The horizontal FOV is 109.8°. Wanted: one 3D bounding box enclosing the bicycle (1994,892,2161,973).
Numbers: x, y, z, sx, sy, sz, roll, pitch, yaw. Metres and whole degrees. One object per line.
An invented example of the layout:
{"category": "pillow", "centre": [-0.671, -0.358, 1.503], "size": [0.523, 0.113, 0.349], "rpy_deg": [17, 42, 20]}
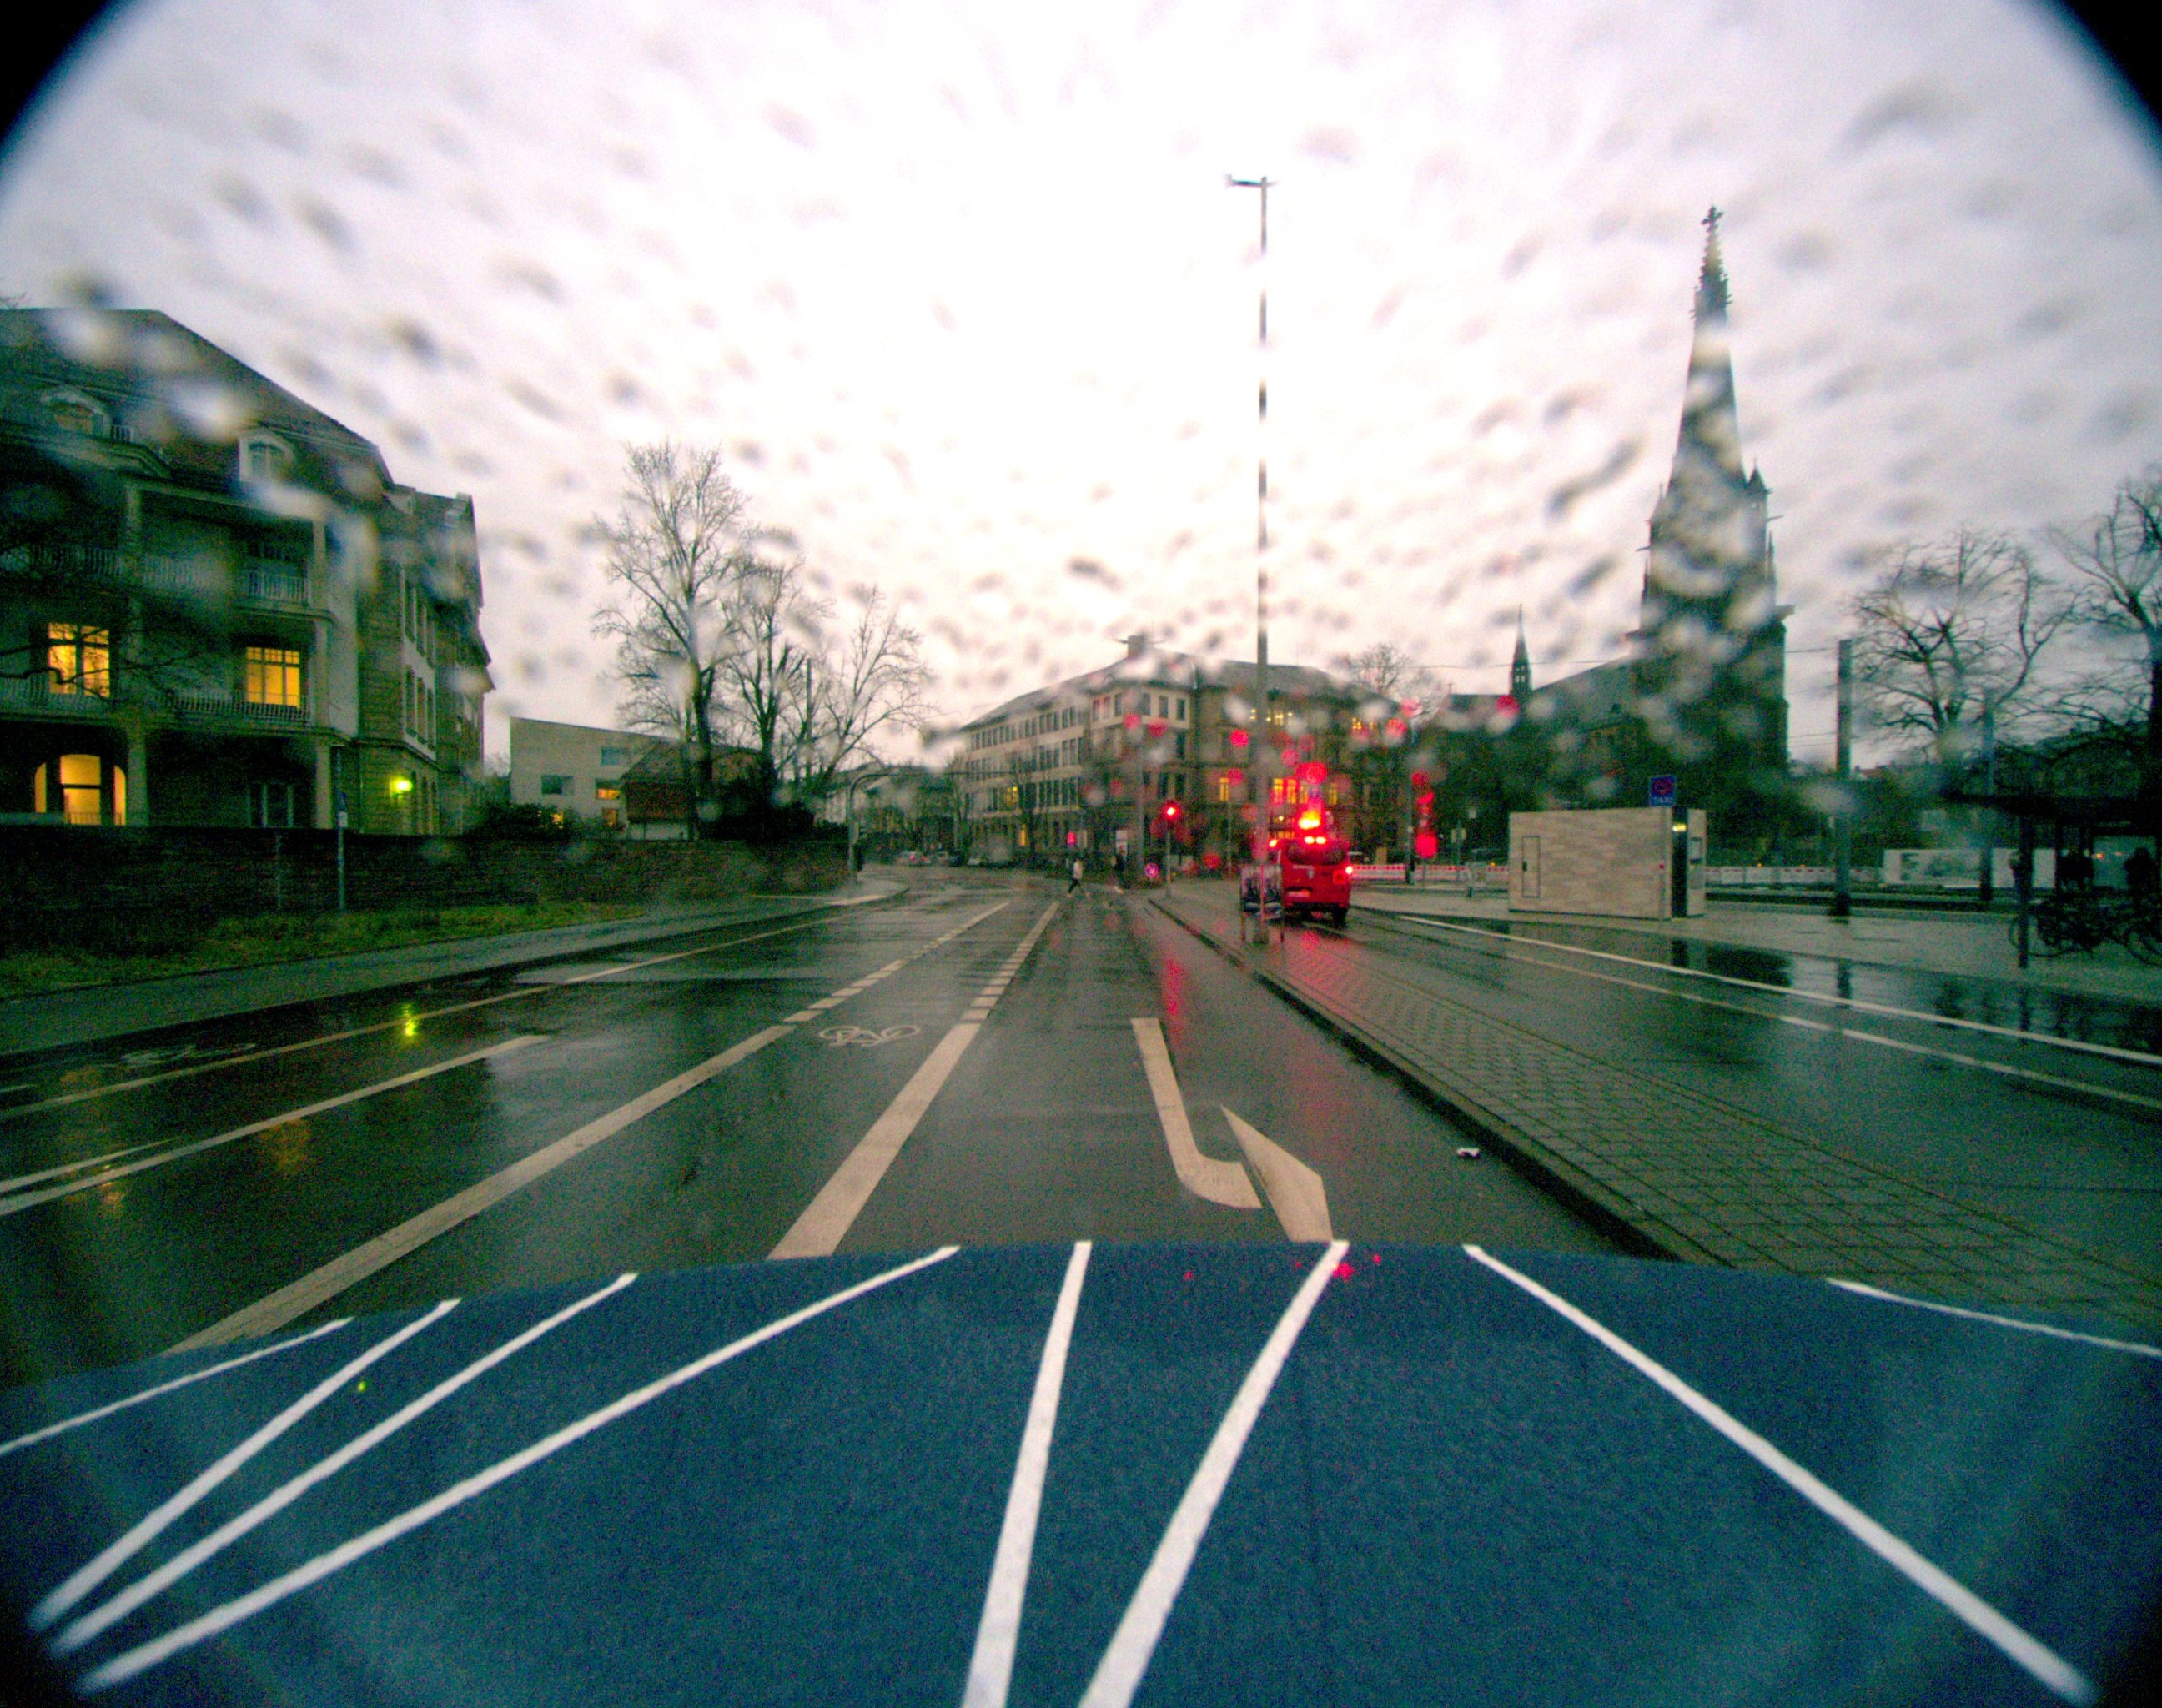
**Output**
{"category": "bicycle", "centre": [15.502, 1.175, 11.608], "size": [0.475, 1.064, 1.921], "rpy_deg": [-2, 2, -30]}

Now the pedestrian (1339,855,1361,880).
{"category": "pedestrian", "centre": [18.412, 0.933, 51.978], "size": [0.774, 1.651, 1.206], "rpy_deg": [-3, 1, -19]}

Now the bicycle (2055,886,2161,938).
{"category": "bicycle", "centre": [20.851, 1.155, 15.014], "size": [0.475, 0.905, 1.921], "rpy_deg": [-2, 2, -30]}

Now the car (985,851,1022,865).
{"category": "car", "centre": [-9.210, 0.477, 90.470], "size": [1.797, 1.541, 4.007], "rpy_deg": [-1, 1, 45]}

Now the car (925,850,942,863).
{"category": "car", "centre": [-20.730, 0.370, 106.844], "size": [2.000, 1.660, 3.997], "rpy_deg": [-2, 1, -7]}

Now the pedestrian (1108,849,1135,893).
{"category": "pedestrian", "centre": [1.786, 0.745, 33.273], "size": [1.000, 1.890, 0.673], "rpy_deg": [0, 1, -14]}

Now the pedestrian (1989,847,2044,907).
{"category": "pedestrian", "centre": [28.824, 0.688, 23.420], "size": [0.670, 1.785, 0.826], "rpy_deg": [-2, 1, -11]}

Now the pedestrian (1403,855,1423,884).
{"category": "pedestrian", "centre": [21.707, 1.013, 49.669], "size": [0.675, 1.890, 0.971], "rpy_deg": [0, 1, -36]}

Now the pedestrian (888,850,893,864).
{"category": "pedestrian", "centre": [-29.081, 0.451, 115.820], "size": [0.548, 2.002, 0.474], "rpy_deg": [0, 1, -30]}

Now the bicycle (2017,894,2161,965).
{"category": "bicycle", "centre": [16.620, 1.208, 12.213], "size": [0.475, 0.980, 1.921], "rpy_deg": [-2, 2, -30]}

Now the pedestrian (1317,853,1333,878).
{"category": "pedestrian", "centre": [17.986, 0.831, 56.063], "size": [0.675, 1.806, 0.895], "rpy_deg": [0, 2, -44]}

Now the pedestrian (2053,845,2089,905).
{"category": "pedestrian", "centre": [30.239, 0.636, 23.211], "size": [0.673, 1.785, 0.626], "rpy_deg": [-3, 2, -41]}

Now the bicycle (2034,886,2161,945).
{"category": "bicycle", "centre": [19.695, 1.163, 14.424], "size": [0.475, 0.980, 1.921], "rpy_deg": [-2, 2, -30]}

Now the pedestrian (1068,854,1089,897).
{"category": "pedestrian", "centre": [-0.097, 0.869, 30.645], "size": [0.798, 1.713, 0.674], "rpy_deg": [1, 1, -5]}

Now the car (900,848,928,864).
{"category": "car", "centre": [-21.575, 0.261, 98.145], "size": [1.887, 1.835, 3.989], "rpy_deg": [-3, 1, -40]}

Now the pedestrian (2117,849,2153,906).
{"category": "pedestrian", "centre": [31.052, 0.686, 22.383], "size": [0.541, 1.642, 0.562], "rpy_deg": [-3, 2, -41]}

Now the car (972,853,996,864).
{"category": "car", "centre": [-12.129, 0.573, 95.305], "size": [1.706, 1.298, 3.647], "rpy_deg": [-2, 1, 16]}

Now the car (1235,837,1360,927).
{"category": "car", "centre": [5.494, 0.651, 19.956], "size": [1.929, 2.058, 4.643], "rpy_deg": [1, 0, 0]}

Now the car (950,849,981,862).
{"category": "car", "centre": [-15.085, 0.198, 99.404], "size": [1.797, 1.541, 4.007], "rpy_deg": [-2, 1, 28]}

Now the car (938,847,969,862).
{"category": "car", "centre": [-16.990, 0.074, 101.469], "size": [2.043, 1.889, 4.007], "rpy_deg": [-2, 1, 28]}
